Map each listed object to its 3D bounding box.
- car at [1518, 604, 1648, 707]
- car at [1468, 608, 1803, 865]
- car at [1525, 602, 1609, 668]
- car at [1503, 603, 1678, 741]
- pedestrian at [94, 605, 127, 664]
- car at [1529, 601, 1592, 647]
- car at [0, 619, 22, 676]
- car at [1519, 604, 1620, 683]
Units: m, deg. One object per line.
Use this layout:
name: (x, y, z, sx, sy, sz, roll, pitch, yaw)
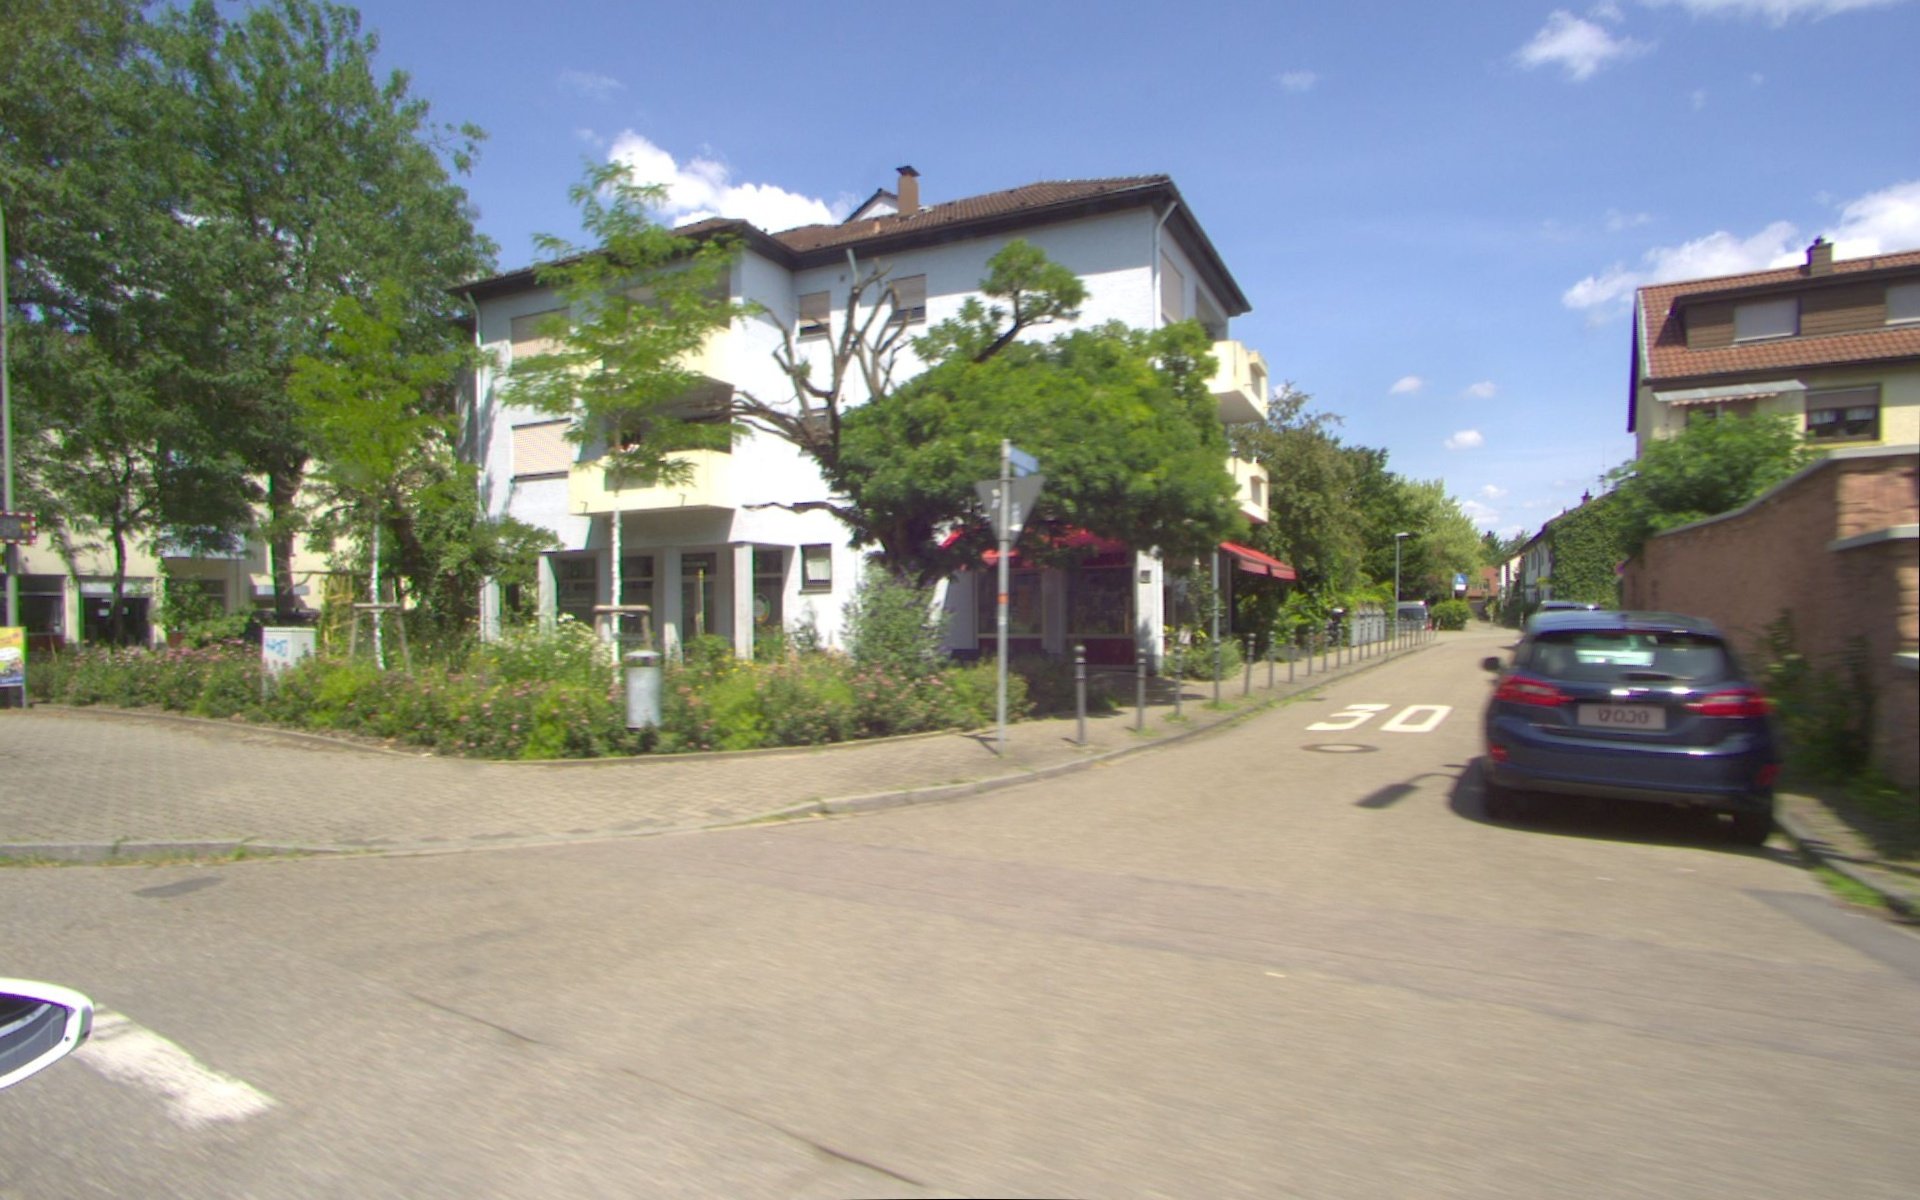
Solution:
car: (10.819, 0.910, 17.504, 1.716, 1.550, 3.593, 2, -1, 31)
car: (5.039, 0.833, 7.755, 1.716, 1.467, 3.593, 0, -1, 31)
car: (15.697, 0.883, 25.959, 1.716, 1.550, 3.593, 2, -1, 31)
car: (8.385, 0.872, 13.457, 1.716, 1.550, 3.593, 2, -1, 31)
pedestrian: (-27.713, 1.113, 32.668, 0.586, 1.883, 0.603, -1, 0, -16)
car: (23.243, 0.902, 38.756, 1.971, 1.683, 3.980, -1, -1, 31)
car: (-25.147, 1.089, 23.344, 1.968, 1.398, 4.380, 0, -3, 25)
car: (13.279, 0.911, 21.882, 1.716, 1.550, 3.593, 2, -1, 31)
